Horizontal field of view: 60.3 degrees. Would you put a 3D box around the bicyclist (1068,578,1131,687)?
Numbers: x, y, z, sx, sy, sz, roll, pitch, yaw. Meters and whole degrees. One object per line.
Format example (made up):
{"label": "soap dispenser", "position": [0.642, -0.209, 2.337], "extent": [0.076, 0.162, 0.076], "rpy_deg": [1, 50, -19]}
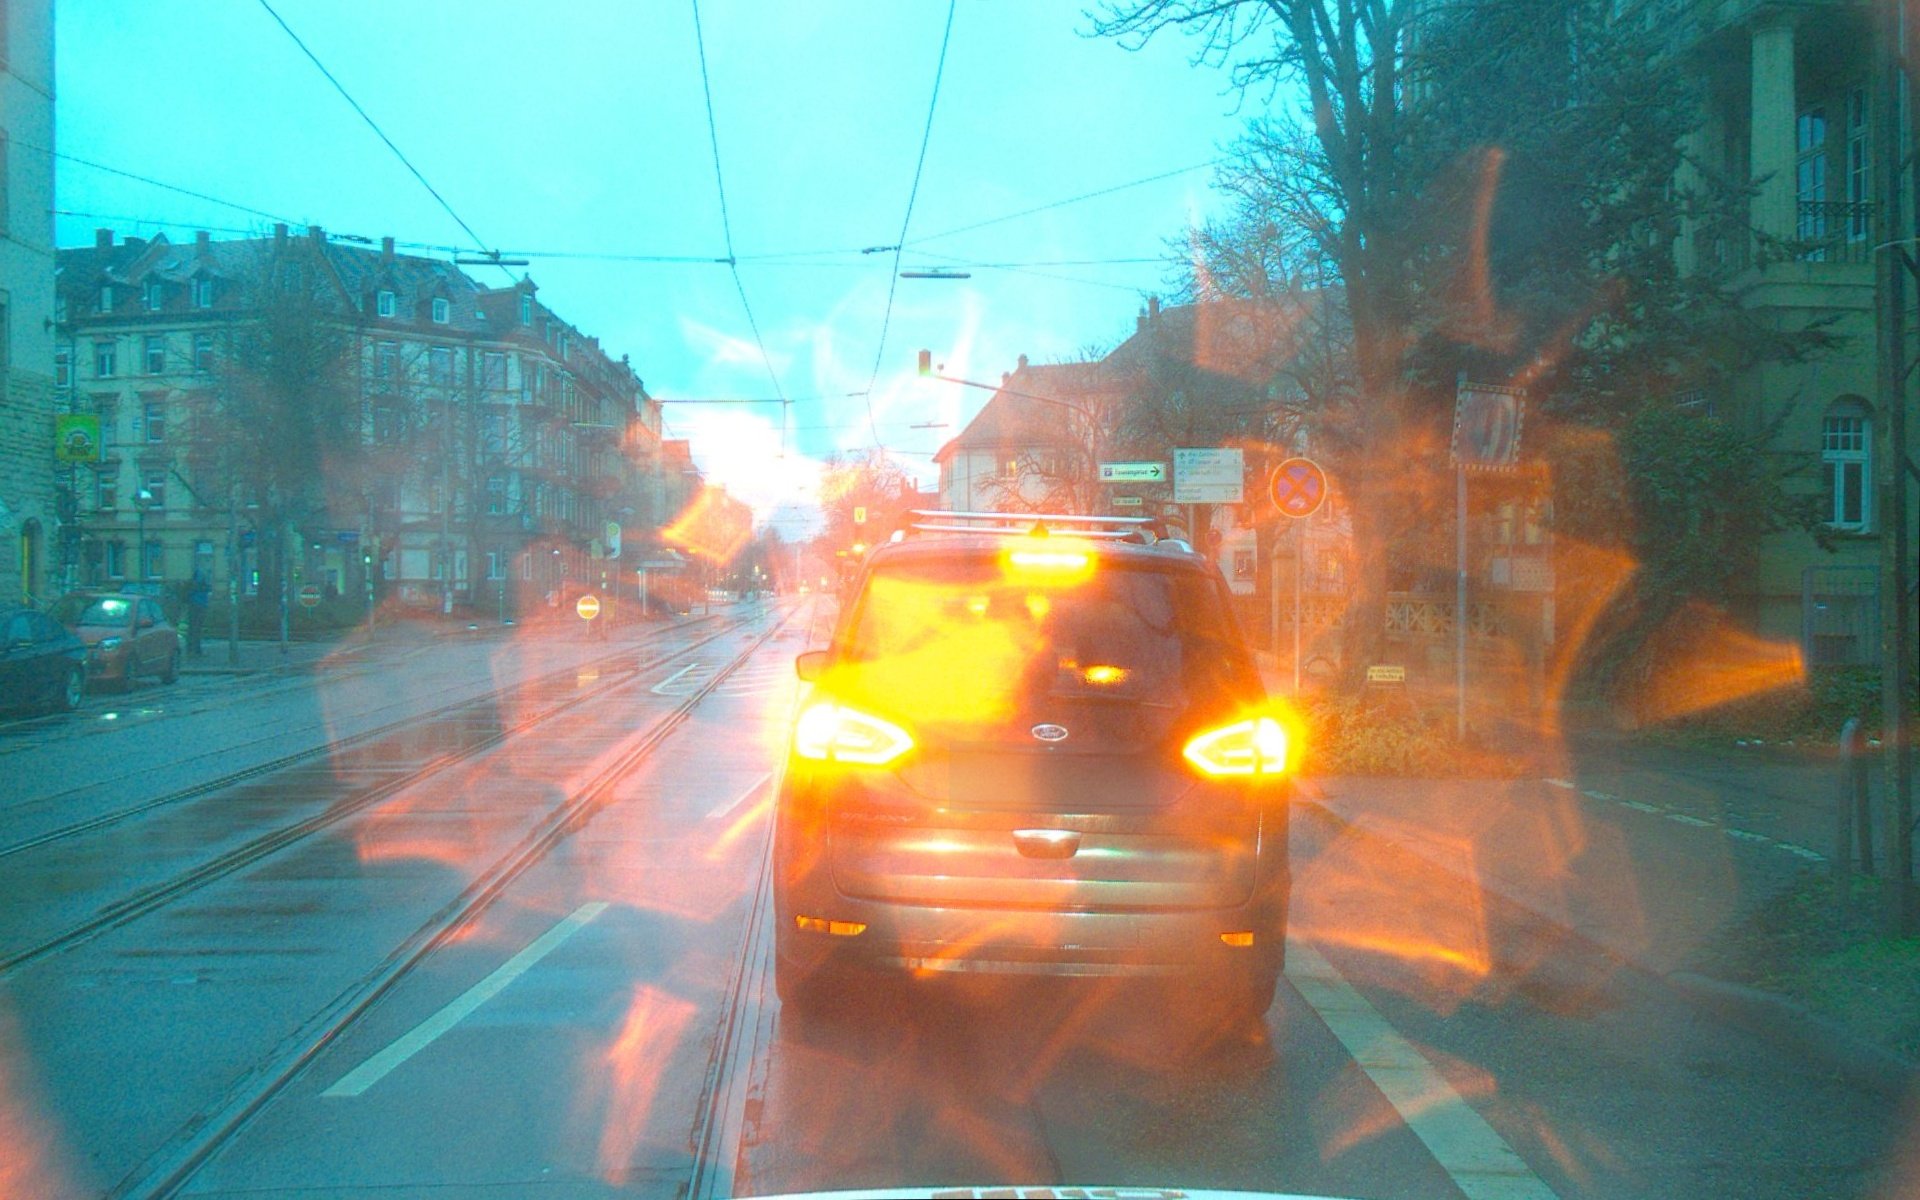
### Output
{"label": "bicyclist", "position": [2.252, 0.506, 26.755], "extent": [0.703, 1.691, 1.054], "rpy_deg": [4, 0, -9]}

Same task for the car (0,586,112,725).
{"label": "car", "position": [-13.105, 0.665, 21.654], "extent": [1.949, 1.674, 4.624], "rpy_deg": [5, -1, -7]}

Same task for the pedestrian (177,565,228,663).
{"label": "pedestrian", "position": [-16.083, 0.293, 35.117], "extent": [0.742, 2.049, 0.646], "rpy_deg": [0, -1, 32]}

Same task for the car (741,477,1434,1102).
{"label": "car", "position": [0.305, 0.566, 7.347], "extent": [2.061, 1.848, 4.658], "rpy_deg": [2, 0, -2]}

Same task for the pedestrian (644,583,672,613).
{"label": "pedestrian", "position": [-12.368, -0.086, 67.750], "extent": [1.027, 1.221, 0.884], "rpy_deg": [1, 0, -4]}

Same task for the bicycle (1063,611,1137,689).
{"label": "bicycle", "position": [2.239, 0.794, 26.728], "extent": [0.703, 1.131, 1.938], "rpy_deg": [4, 0, -9]}

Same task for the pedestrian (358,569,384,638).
{"label": "pedestrian", "position": [-17.715, 0.099, 49.714], "extent": [0.695, 2.049, 0.656], "rpy_deg": [0, 0, -24]}

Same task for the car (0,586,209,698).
{"label": "car", "position": [-14.290, 0.642, 27.747], "extent": [2.000, 1.578, 4.023], "rpy_deg": [4, 0, -9]}
